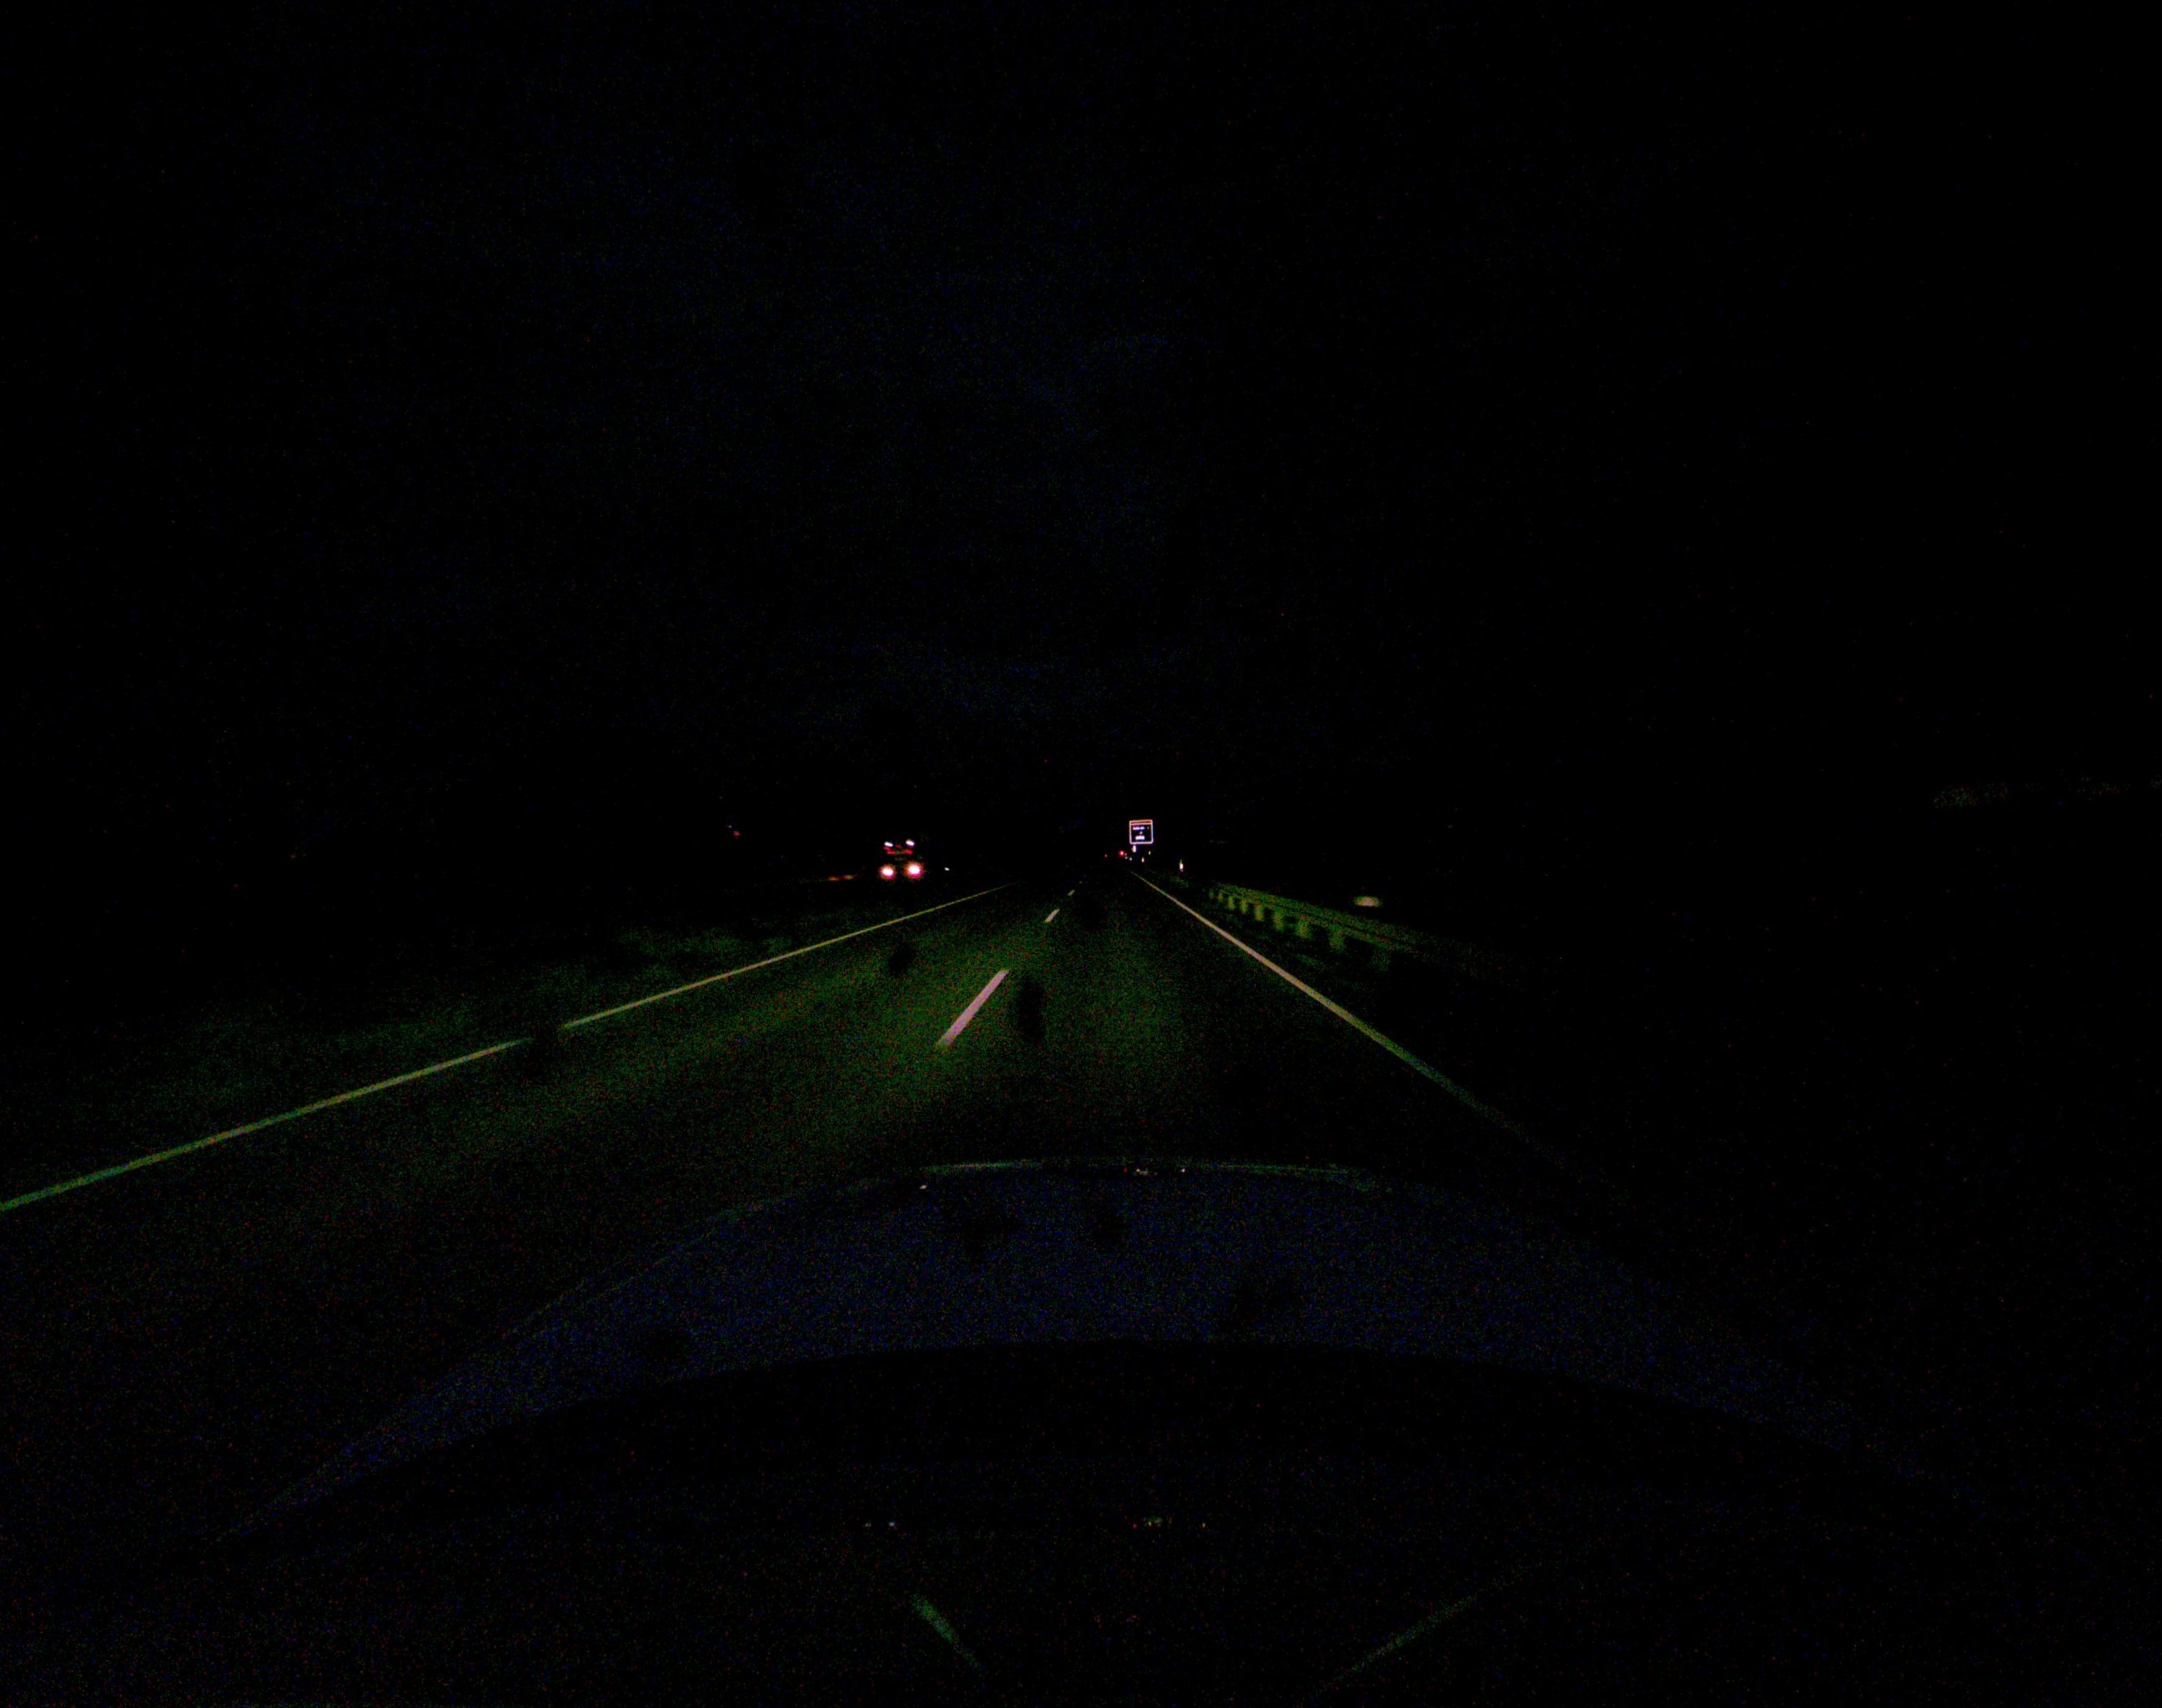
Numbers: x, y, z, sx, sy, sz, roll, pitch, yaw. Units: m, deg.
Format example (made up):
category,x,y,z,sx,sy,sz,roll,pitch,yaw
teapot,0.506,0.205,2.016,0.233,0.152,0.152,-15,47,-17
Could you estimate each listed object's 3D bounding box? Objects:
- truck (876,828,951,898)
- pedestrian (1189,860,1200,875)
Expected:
category,x,y,z,sx,sy,sz,roll,pitch,yaw
truck,-13.772,0.700,68.333,3.191,5.255,12.612,-2,0,1
pedestrian,12.300,1.469,88.188,1.058,1.643,1.119,-1,-1,2
